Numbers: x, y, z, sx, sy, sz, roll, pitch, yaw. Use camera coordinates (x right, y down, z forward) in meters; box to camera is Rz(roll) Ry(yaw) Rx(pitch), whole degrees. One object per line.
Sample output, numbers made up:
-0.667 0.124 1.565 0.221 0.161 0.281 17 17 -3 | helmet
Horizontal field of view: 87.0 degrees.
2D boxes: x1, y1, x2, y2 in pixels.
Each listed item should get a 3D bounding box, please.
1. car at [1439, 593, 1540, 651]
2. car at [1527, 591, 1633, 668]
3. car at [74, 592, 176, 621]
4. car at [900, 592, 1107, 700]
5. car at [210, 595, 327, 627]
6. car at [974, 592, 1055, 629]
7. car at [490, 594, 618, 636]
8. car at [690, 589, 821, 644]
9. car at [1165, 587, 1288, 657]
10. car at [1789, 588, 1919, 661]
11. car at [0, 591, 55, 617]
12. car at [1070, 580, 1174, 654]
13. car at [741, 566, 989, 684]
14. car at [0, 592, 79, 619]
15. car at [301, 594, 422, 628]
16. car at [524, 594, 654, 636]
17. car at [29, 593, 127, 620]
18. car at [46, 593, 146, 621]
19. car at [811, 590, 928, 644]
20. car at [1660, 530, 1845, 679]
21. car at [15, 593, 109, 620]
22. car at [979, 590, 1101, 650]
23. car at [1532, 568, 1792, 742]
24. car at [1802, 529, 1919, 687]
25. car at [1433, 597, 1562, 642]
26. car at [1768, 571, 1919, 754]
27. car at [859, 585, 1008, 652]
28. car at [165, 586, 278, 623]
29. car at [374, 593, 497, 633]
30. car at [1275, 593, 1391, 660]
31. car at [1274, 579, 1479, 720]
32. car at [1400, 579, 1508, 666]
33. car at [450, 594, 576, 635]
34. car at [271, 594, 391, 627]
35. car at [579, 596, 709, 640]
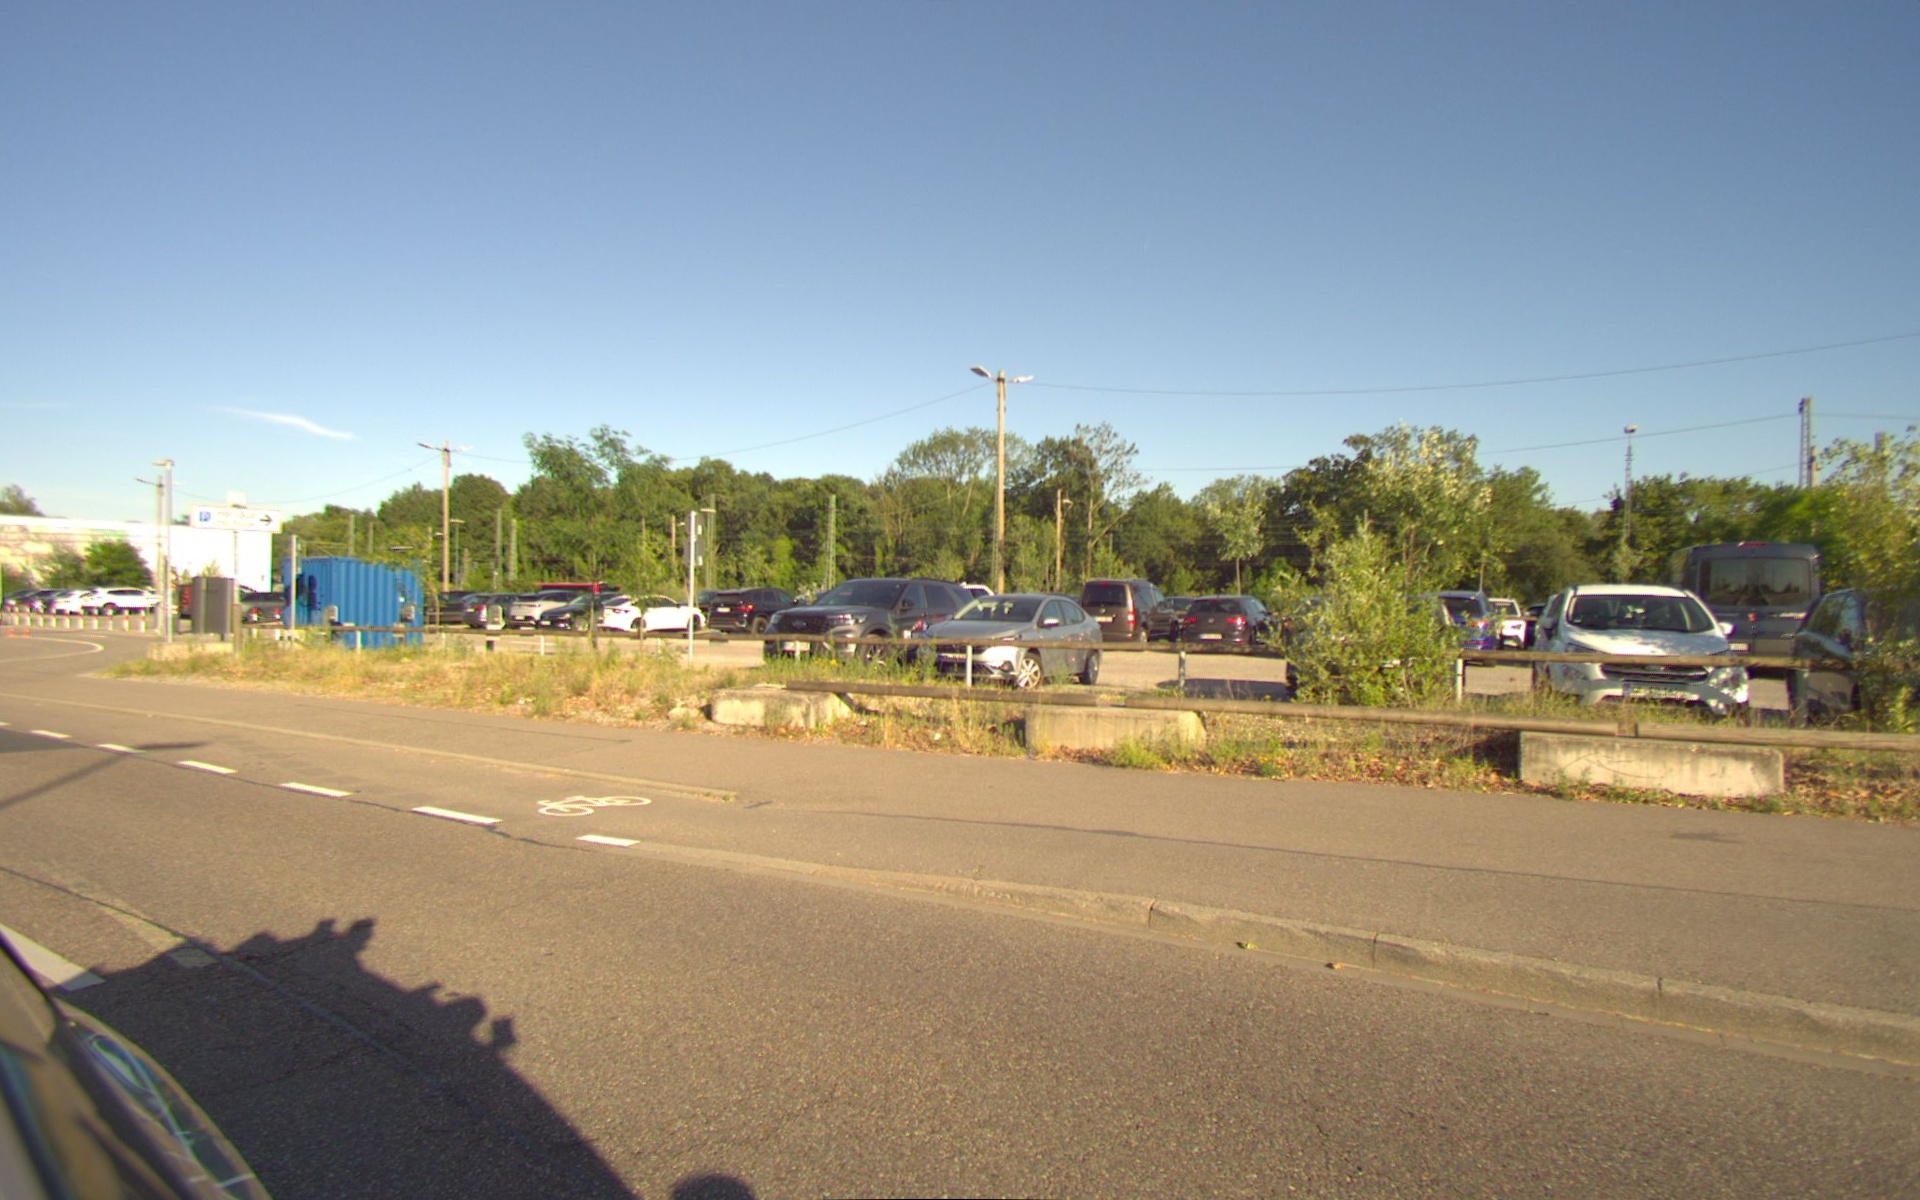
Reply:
14.365 0.523 27.333 2.095 1.430 4.156 0 0 32 | car
13.535 0.583 22.169 1.828 1.519 3.712 0 0 31 | car
-48.760 0.354 59.187 1.819 1.558 4.258 0 1 27 | car
0.819 0.617 15.887 1.830 1.464 3.889 0 0 27 | car
-34.057 0.507 49.934 1.918 1.455 4.392 0 1 37 | car
2.520 0.475 46.119 1.980 1.601 4.158 0 0 31 | car
-15.677 0.533 39.307 1.862 1.477 4.403 0 1 29 | car
-6.648 0.495 33.324 1.978 1.601 4.161 0 1 29 | car
6.804 0.510 25.592 1.993 1.606 3.958 0 0 31 | car
20.570 0.503 23.137 1.981 1.510 4.156 0 0 32 | car
-62.819 0.252 66.904 1.726 1.621 4.291 -1 1 11 | car
4.341 0.385 26.726 1.761 1.746 3.748 0 1 25 | car
-1.467 0.456 17.548 2.060 1.756 4.491 0 -2 30 | car
-60.417 0.315 65.946 1.767 1.637 4.306 -1 1 11 | car
-27.149 0.455 46.073 1.862 1.388 4.403 0 1 29 | car
-13.670 0.529 37.569 1.862 1.454 4.403 0 0 29 | car
-53.204 0.380 61.130 1.757 1.498 4.120 0 1 27 | car
-51.045 0.379 59.863 1.753 1.497 4.121 0 1 27 | car
-2.758 0.466 31.611 1.719 1.516 3.960 1 1 29 | car
15.009 0.073 19.451 2.120 2.486 4.437 0 0 29 | car
-55.520 0.383 62.631 1.757 1.498 3.977 0 1 27 | car
2.317 0.505 28.368 1.885 1.498 3.901 0 1 31 | car
7.793 0.518 11.653 1.877 1.623 4.021 0 0 26 | car
17.362 0.115 18.219 2.392 2.536 5.457 0 0 29 | car
18.599 0.646 35.023 3.852 1.456 1.979 0 0 32 | car
10.291 0.532 10.710 1.863 1.667 4.107 -1 1 27 | car
-0.667 0.473 29.378 2.034 1.707 4.649 0 2 33 | car
-38.377 0.200 52.650 1.867 1.790 4.391 0 1 37 | car
-22.518 0.520 43.634 1.862 1.525 4.403 0 1 29 | car
8.816 0.564 23.752 1.755 1.442 3.956 0 0 33 | car
5.520 0.542 13.129 1.850 1.527 3.957 0 0 32 | car
11.069 0.413 22.538 1.821 1.592 3.959 0 3 31 | car
-17.907 0.544 40.767 1.862 1.439 4.403 0 1 29 | car
-29.216 0.462 47.175 1.862 1.388 4.403 0 1 29 | car
-11.236 0.611 36.296 1.862 1.388 4.403 0 1 29 | car
